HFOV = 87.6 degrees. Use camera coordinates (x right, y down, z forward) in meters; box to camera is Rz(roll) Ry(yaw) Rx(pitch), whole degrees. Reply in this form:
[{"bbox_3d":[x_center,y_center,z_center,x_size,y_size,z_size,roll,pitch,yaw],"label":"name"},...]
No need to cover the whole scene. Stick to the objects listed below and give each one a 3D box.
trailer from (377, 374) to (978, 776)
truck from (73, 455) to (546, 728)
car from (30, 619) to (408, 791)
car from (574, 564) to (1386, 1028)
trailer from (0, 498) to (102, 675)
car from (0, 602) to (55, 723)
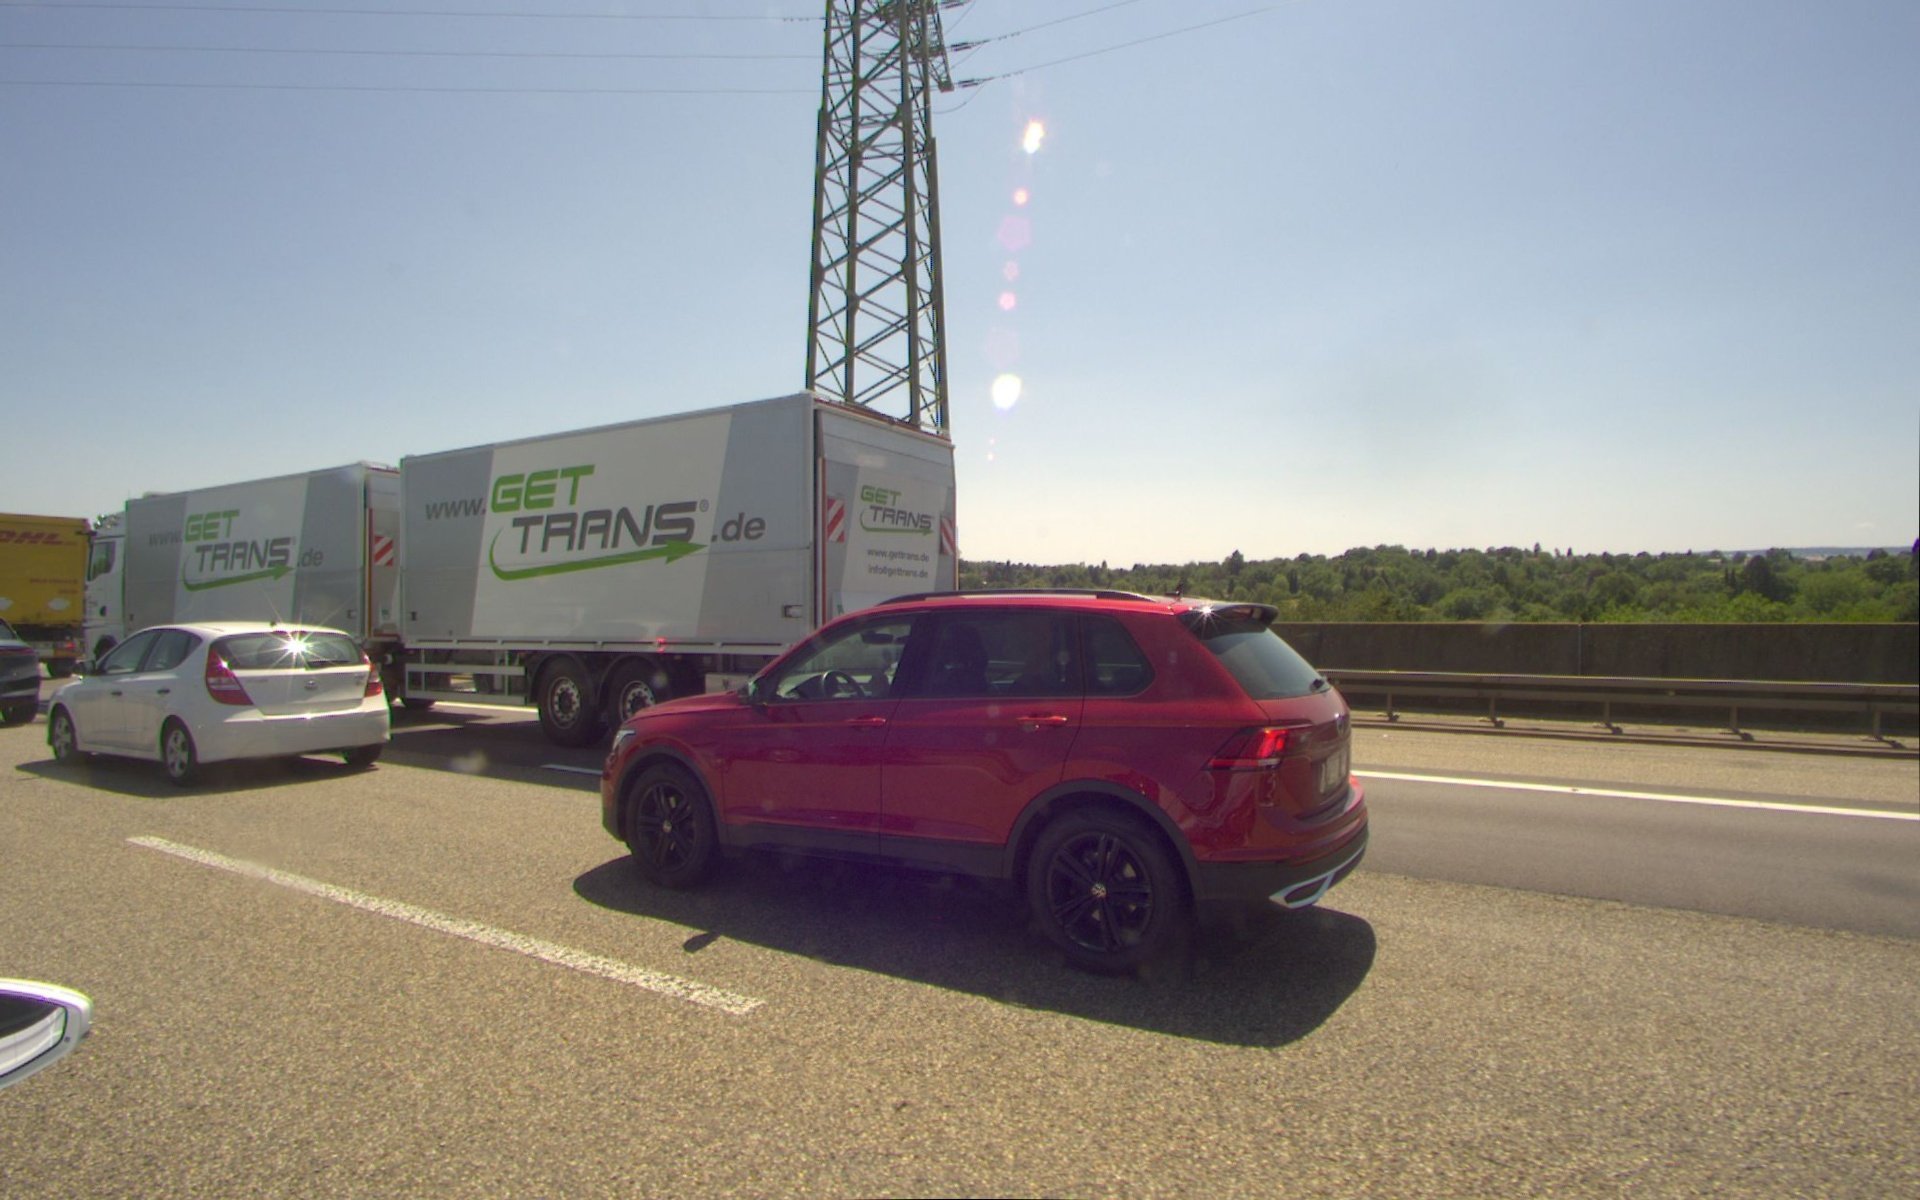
[{"bbox_3d":[-3.838,-0.179,12.592,7.899,3.748,2.693,0,0,32],"label":"trailer"},{"bbox_3d":[-11.816,-0.049,17.564,10.851,3.695,2.652,-1,0,32],"label":"truck"},{"bbox_3d":[-7.826,0.935,10.479,4.231,1.474,1.785,-1,-1,32],"label":"car"},{"bbox_3d":[-0.031,0.748,5.499,4.163,1.683,1.772,-1,-1,32],"label":"car"},{"bbox_3d":[-26.829,-0.245,27.195,8.883,4.293,2.860,-1,-2,32],"label":"trailer"},{"bbox_3d":[-15.175,0.875,14.547,4.231,1.666,1.958,-1,-1,32],"label":"car"}]
